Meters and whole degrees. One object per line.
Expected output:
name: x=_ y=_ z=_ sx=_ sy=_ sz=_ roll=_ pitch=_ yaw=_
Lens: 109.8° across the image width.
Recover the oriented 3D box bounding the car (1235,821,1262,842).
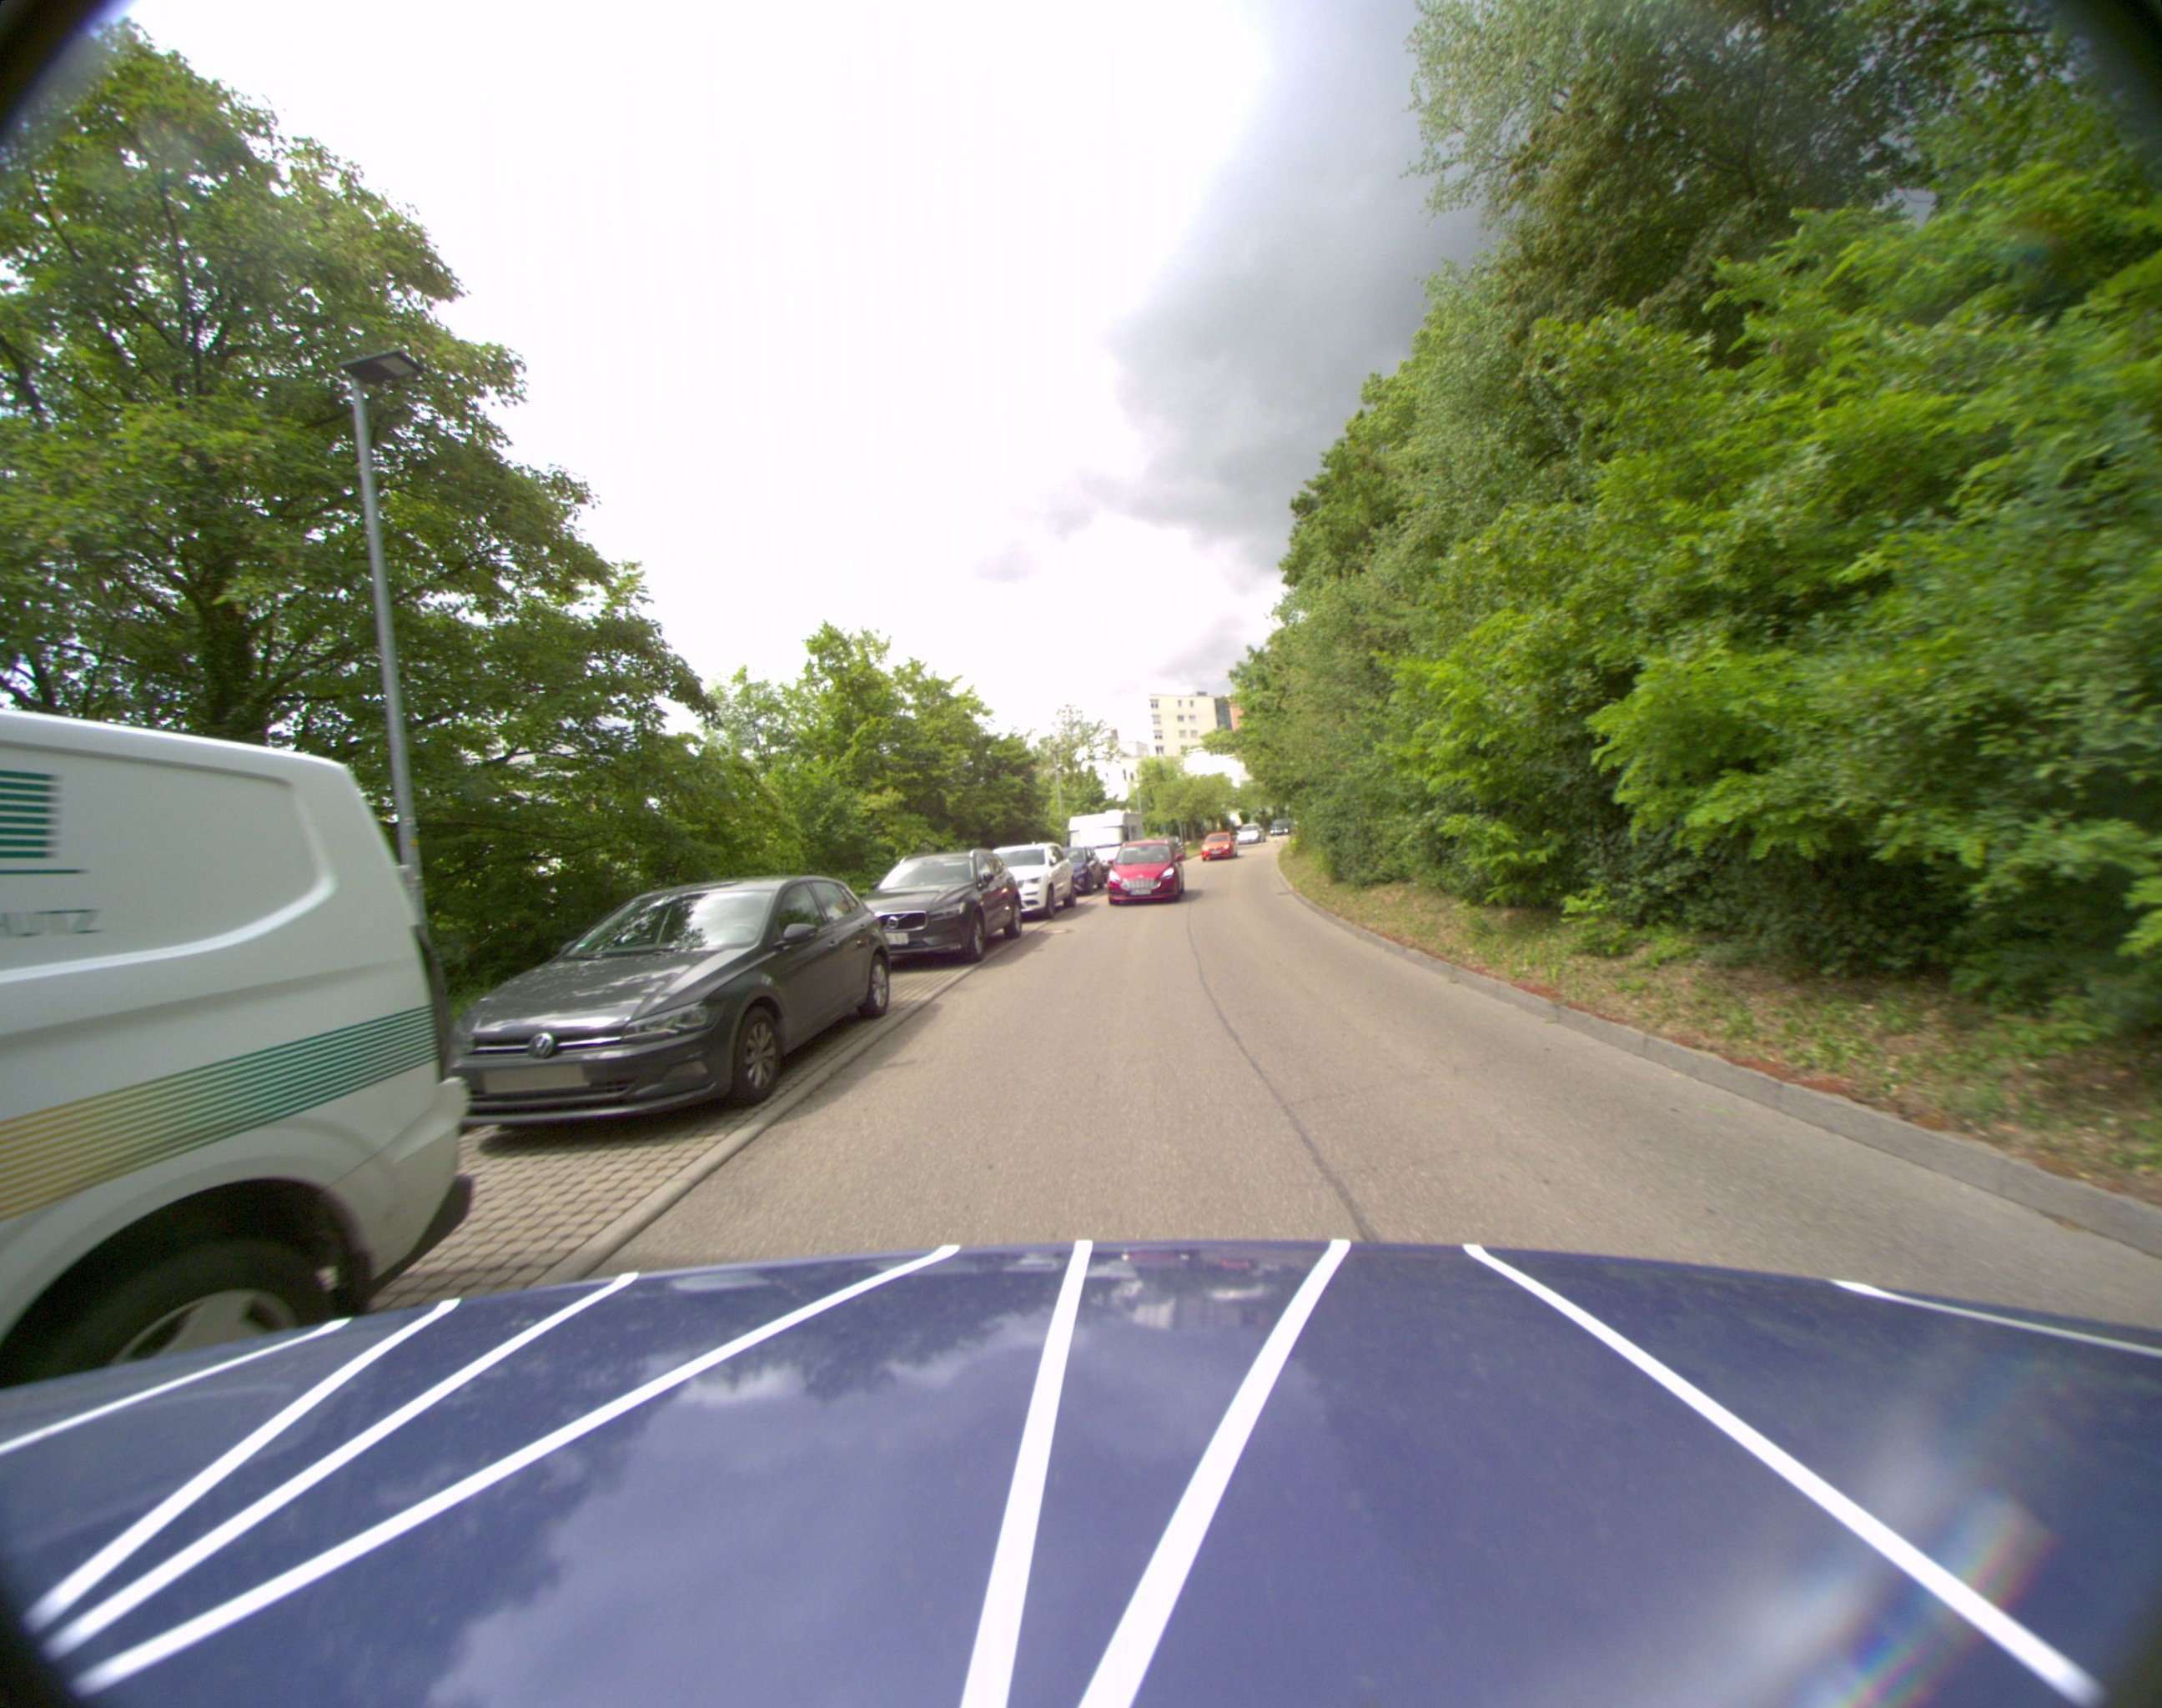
car: x=13.572 y=-1.836 z=61.731 sx=1.779 sy=1.444 sz=4.000 roll=-6 pitch=2 yaw=9

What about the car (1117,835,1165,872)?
car: x=3.151 y=-0.064 z=39.138 sx=1.731 sy=1.511 sz=3.891 roll=-4 pitch=3 yaw=14

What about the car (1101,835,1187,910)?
car: x=1.827 y=0.434 z=20.876 sx=1.811 sy=1.601 sz=3.723 roll=-4 pitch=3 yaw=12

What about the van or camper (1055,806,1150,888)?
van or camper: x=1.070 y=-0.391 z=31.368 sx=2.336 sy=2.853 sz=6.154 roll=-6 pitch=1 yaw=14

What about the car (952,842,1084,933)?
car: x=-1.340 y=0.680 z=18.278 sx=1.875 sy=1.679 sz=4.581 roll=-6 pitch=1 yaw=10

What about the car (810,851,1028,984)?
car: x=-2.285 y=0.839 z=12.090 sx=1.997 sy=1.617 sz=4.279 roll=-3 pitch=1 yaw=7

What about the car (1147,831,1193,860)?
car: x=5.417 y=-0.534 z=45.772 sx=1.778 sy=1.426 sz=4.337 roll=-4 pitch=2 yaw=19

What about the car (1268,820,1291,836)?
car: x=19.216 y=-2.548 z=73.703 sx=1.779 sy=1.412 sz=4.002 roll=-3 pitch=1 yaw=11

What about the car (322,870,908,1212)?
car: x=-2.866 y=1.021 z=5.913 sx=1.802 sy=1.456 sz=4.000 roll=-5 pitch=1 yaw=3

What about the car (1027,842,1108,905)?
car: x=-0.337 y=0.551 z=24.437 sx=1.714 sy=1.582 sz=4.001 roll=-6 pitch=1 yaw=10

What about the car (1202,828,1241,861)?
car: x=7.918 y=-0.587 z=42.499 sx=1.860 sy=1.435 sz=4.001 roll=-6 pitch=2 yaw=13
